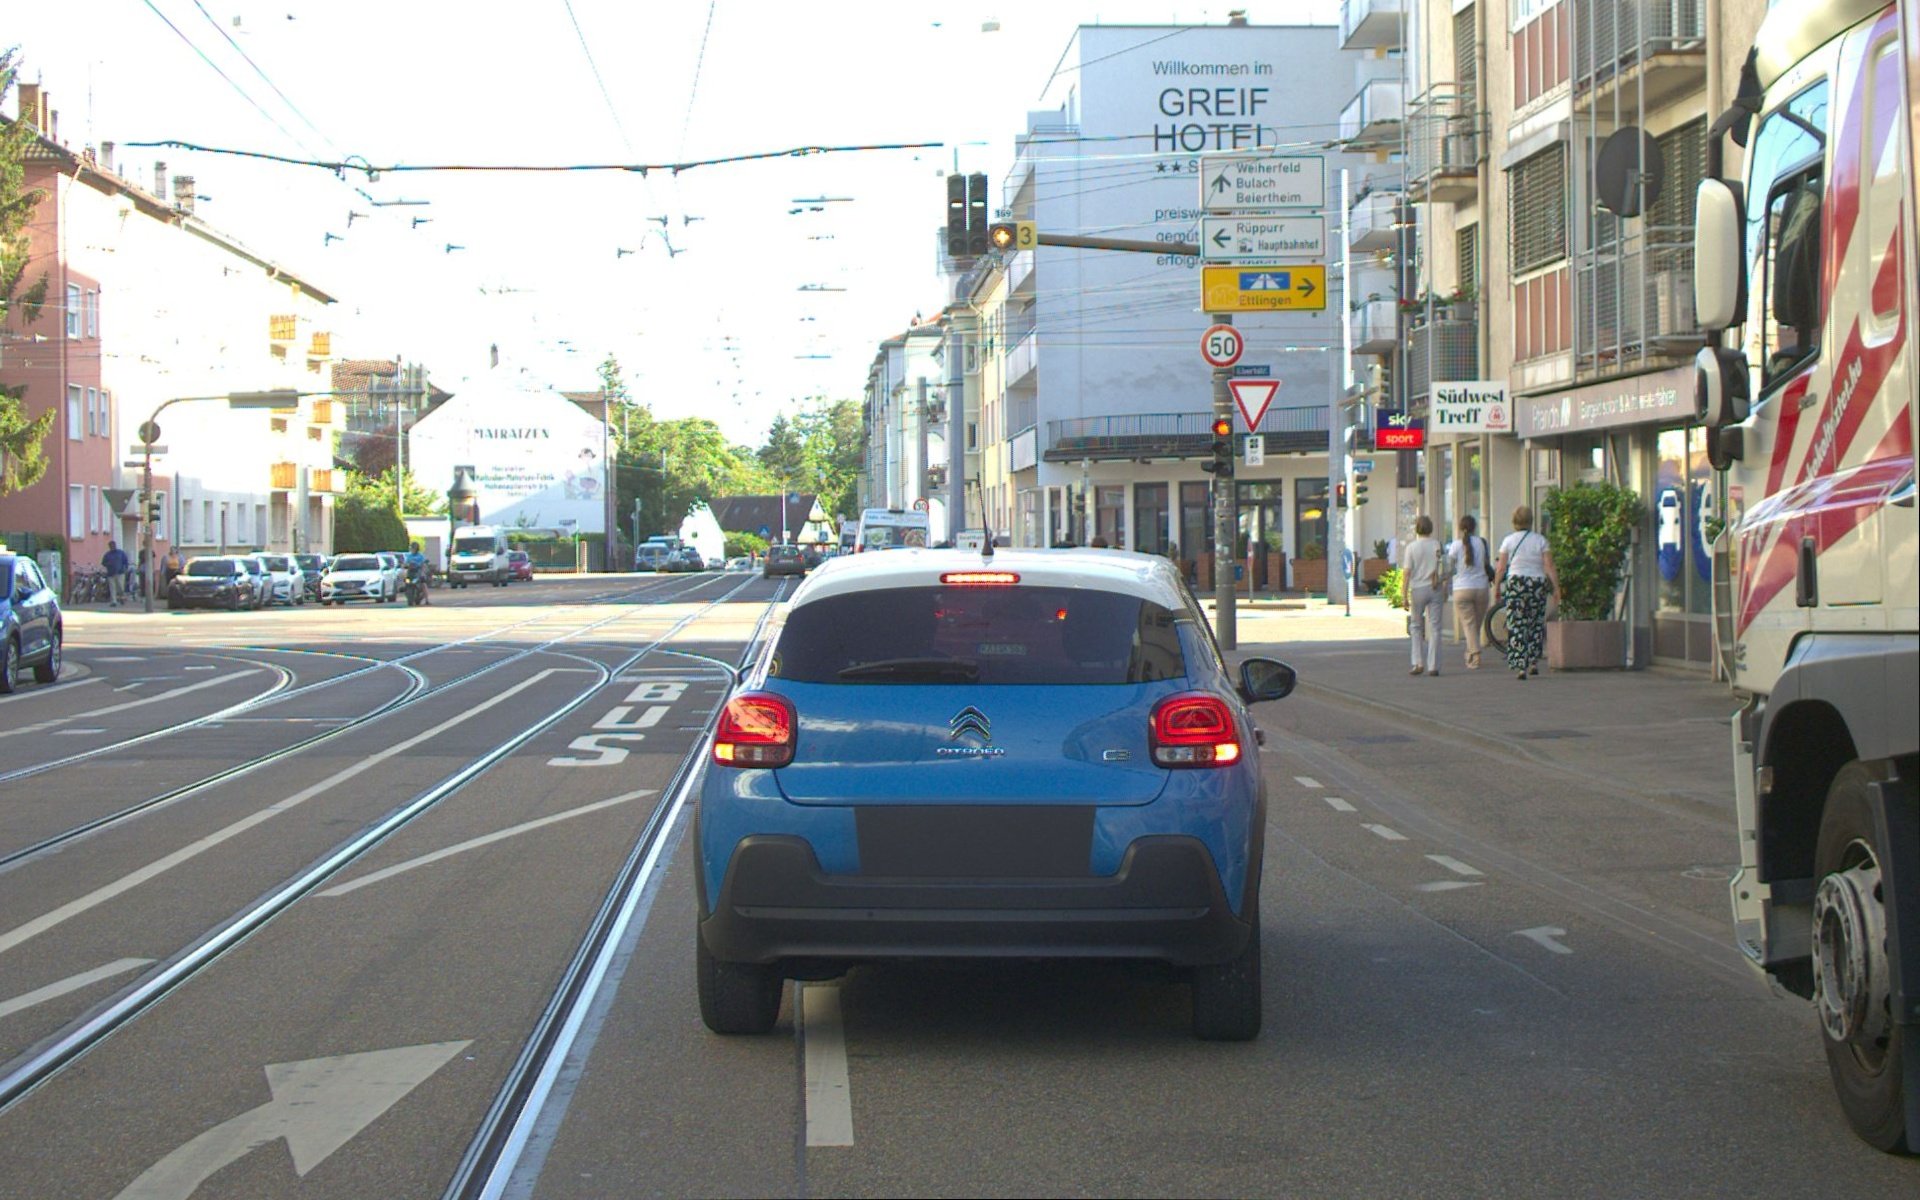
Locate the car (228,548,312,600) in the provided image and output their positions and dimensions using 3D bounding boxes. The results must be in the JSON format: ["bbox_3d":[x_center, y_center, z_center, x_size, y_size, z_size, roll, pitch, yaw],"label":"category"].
[{"bbox_3d":[-20.658,-0.798,103.015,1.911,1.492,4.001,-1,1,-3],"label":"car"}]

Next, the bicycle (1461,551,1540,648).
[{"bbox_3d":[6.175,-0.024,39.369,0.530,1.068,1.811,-1,1,-3],"label":"bicycle"}]

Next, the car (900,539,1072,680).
[{"bbox_3d":[0.283,0.058,36.961,1.738,1.415,4.000,0,1,1],"label":"car"}]

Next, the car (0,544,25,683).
[{"bbox_3d":[-11.595,0.115,39.217,1.744,1.504,4.001,1,0,-15],"label":"car"}]

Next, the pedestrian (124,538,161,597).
[{"bbox_3d":[-23.198,-0.924,97.552,0.844,1.684,0.737,0,1,3],"label":"pedestrian"}]

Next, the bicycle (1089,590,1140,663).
[{"bbox_3d":[1.942,0.325,43.318,0.498,0.861,1.749,-1,1,-2],"label":"bicycle"}]

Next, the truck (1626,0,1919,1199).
[{"bbox_3d":[3.516,-0.652,4.179,2.860,4.059,11.780,-1,1,-1],"label":"truck"}]

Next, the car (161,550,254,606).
[{"bbox_3d":[-20.260,-0.604,92.655,1.910,1.428,4.001,-1,1,-5],"label":"car"}]

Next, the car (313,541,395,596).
[{"bbox_3d":[-17.982,-0.960,102.124,1.849,1.568,4.402,0,1,-3],"label":"car"}]

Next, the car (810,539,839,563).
[{"bbox_3d":[-10.123,-3.679,256.831,1.993,1.787,4.000,0,1,1],"label":"car"}]

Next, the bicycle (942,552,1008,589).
[{"bbox_3d":[0.401,-0.797,91.804,1.720,0.953,0.702,-1,1,3],"label":"bicycle"}]

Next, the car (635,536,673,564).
[{"bbox_3d":[-17.187,-2.819,193.178,2.021,1.520,4.001,0,1,-3],"label":"car"}]

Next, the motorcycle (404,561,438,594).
[{"bbox_3d":[-14.255,-0.601,90.981,0.615,0.861,1.671,-1,1,1],"label":"motorcycle"}]

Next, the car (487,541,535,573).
[{"bbox_3d":[-21.990,-2.126,168.573,2.021,1.520,4.001,0,1,-3],"label":"car"}]

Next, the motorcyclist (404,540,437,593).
[{"bbox_3d":[-14.249,-0.884,90.822,0.719,1.373,0.911,-1,1,1],"label":"motorcyclist"}]

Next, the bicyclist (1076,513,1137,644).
[{"bbox_3d":[1.847,-0.275,43.493,0.726,1.640,0.790,-1,1,1],"label":"bicyclist"}]

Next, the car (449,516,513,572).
[{"bbox_3d":[-19.900,-2.349,143.059,2.206,2.243,4.677,-1,1,-3],"label":"car"}]

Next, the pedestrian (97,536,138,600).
[{"bbox_3d":[-22.399,-0.852,91.387,0.844,1.684,0.737,0,1,3],"label":"pedestrian"}]

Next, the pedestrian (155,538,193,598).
[{"bbox_3d":[-22.318,-0.920,97.643,0.844,1.684,0.737,0,1,3],"label":"pedestrian"}]

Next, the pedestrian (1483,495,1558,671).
[{"bbox_3d":[5.443,-0.171,33.384,0.541,1.666,0.650,-3,1,-1],"label":"pedestrian"}]

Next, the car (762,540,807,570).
[{"bbox_3d":[-7.593,-1.961,148.505,1.754,1.255,3.833,0,1,-6],"label":"car"}]

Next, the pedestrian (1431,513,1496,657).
[{"bbox_3d":[5.385,-0.166,36.796,0.541,1.502,0.611,-3,3,-1],"label":"pedestrian"}]

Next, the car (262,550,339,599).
[{"bbox_3d":[-21.044,-0.830,109.807,1.911,1.492,4.001,-1,1,-3],"label":"car"}]

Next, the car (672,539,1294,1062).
[{"bbox_3d":[0.098,0.532,11.722,1.744,1.457,4.000,1,1,1],"label":"car"}]

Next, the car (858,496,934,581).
[{"bbox_3d":[-1.808,-1.701,95.870,1.993,2.317,4.000,0,1,-3],"label":"car"}]

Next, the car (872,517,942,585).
[{"bbox_3d":[-1.422,-1.289,90.951,1.732,1.744,3.214,0,1,-3],"label":"car"}]

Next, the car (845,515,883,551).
[{"bbox_3d":[-4.319,-3.005,154.915,1.689,1.612,4.000,0,1,-2],"label":"car"}]

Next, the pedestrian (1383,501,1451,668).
[{"bbox_3d":[4.691,-0.165,35.288,0.541,1.666,0.624,-3,3,-1],"label":"pedestrian"}]
